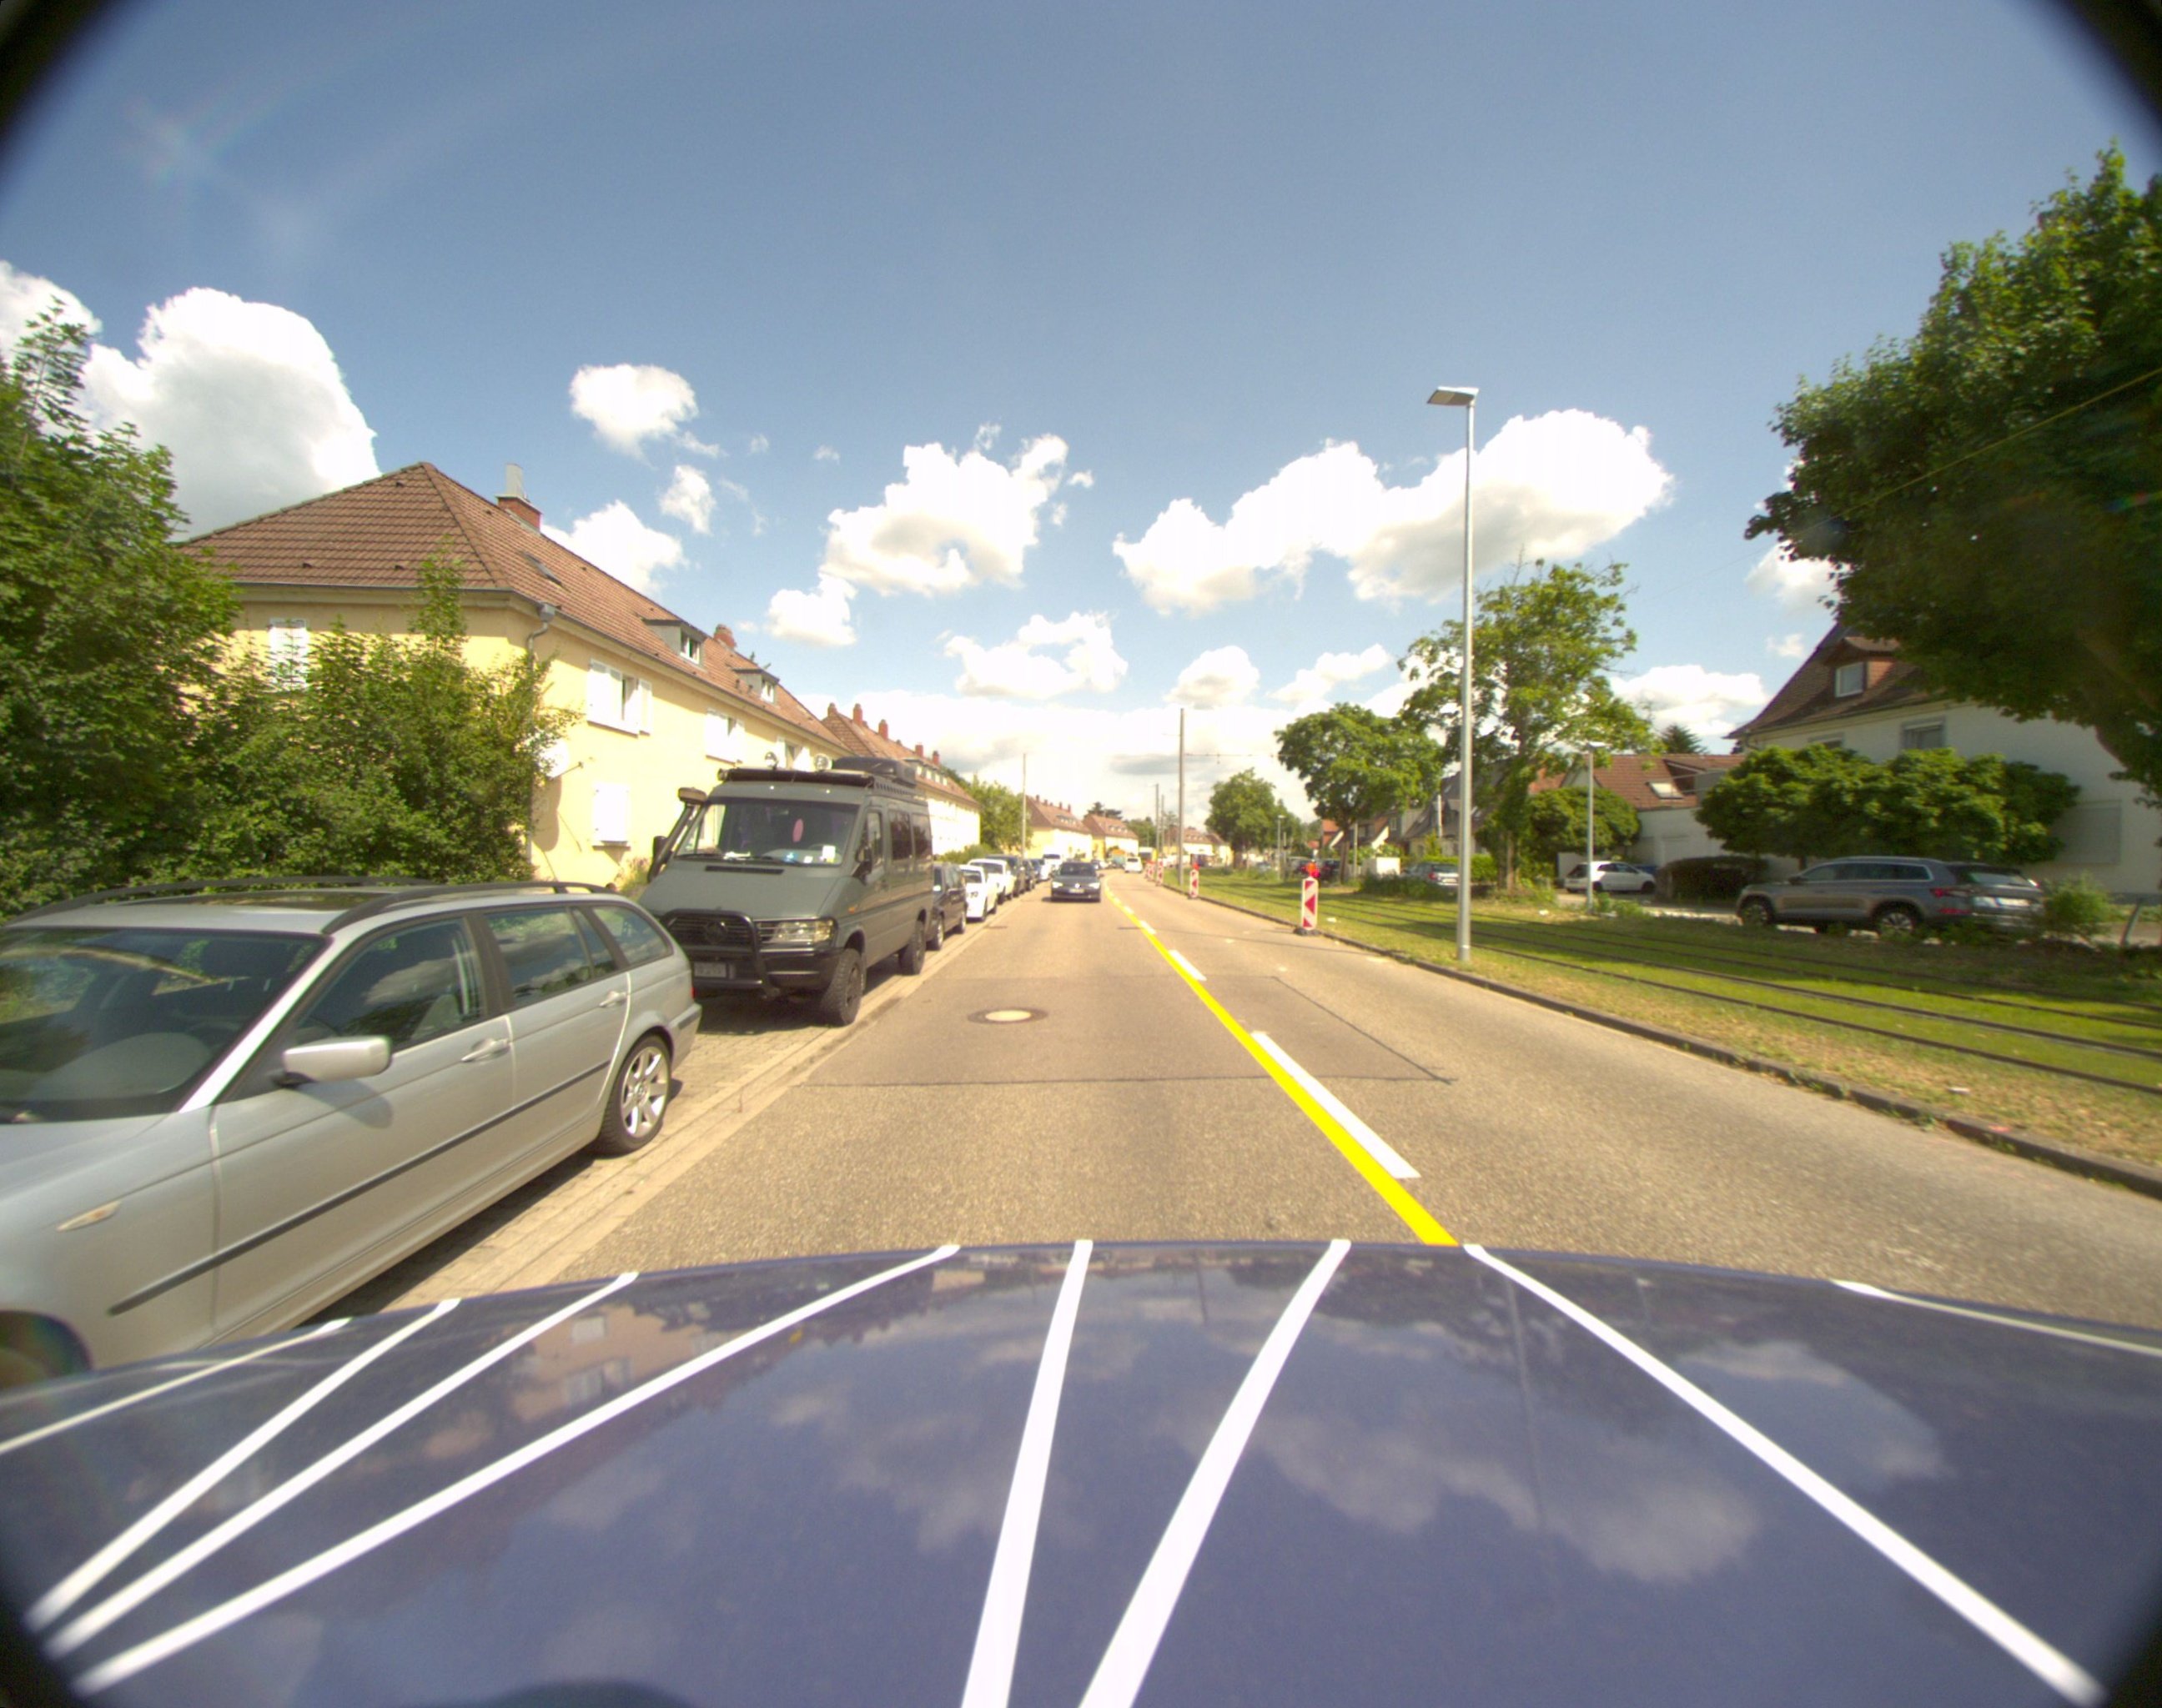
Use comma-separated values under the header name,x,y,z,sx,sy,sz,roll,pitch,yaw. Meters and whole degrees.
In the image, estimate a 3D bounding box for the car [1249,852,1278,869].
name,x,y,z,sx,sy,sz,roll,pitch,yaw
car,17.631,0.627,73.547,1.998,1.531,4.322,1,1,3

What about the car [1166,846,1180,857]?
name,x,y,z,sx,sy,sz,roll,pitch,yaw
car,17.930,-0.498,147.971,1.839,2.043,3.873,1,1,18

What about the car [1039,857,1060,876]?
name,x,y,z,sx,sy,sz,roll,pitch,yaw
car,-2.378,0.936,58.257,1.358,1.299,3.542,1,1,1

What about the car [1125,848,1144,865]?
name,x,y,z,sx,sy,sz,roll,pitch,yaw
car,6.550,0.300,92.346,1.943,1.931,4.564,2,0,8

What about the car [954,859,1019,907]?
name,x,y,z,sx,sy,sz,roll,pitch,yaw
car,-3.132,0.926,25.851,1.654,1.410,4.025,1,1,1

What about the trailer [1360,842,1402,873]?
name,x,y,z,sx,sy,sz,roll,pitch,yaw
trailer,15.584,0.162,39.554,1.302,1.510,2.281,1,1,0

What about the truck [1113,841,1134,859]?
name,x,y,z,sx,sy,sz,roll,pitch,yaw
truck,7.152,-0.658,127.843,2.530,2.931,7.866,1,1,10

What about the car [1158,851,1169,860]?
name,x,y,z,sx,sy,sz,roll,pitch,yaw
car,14.592,0.211,133.850,1.512,1.490,3.577,1,1,12

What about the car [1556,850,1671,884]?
name,x,y,z,sx,sy,sz,roll,pitch,yaw
car,24.926,0.622,35.659,3.997,1.518,2.001,1,-2,0

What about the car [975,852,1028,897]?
name,x,y,z,sx,sy,sz,roll,pitch,yaw
car,-3.101,0.777,30.502,1.683,1.621,4.270,1,1,0

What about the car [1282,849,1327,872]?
name,x,y,z,sx,sy,sz,roll,pitch,yaw
car,16.130,0.449,55.011,1.998,1.531,4.322,1,1,1

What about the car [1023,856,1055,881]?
name,x,y,z,sx,sy,sz,roll,pitch,yaw
car,-2.674,0.883,49.597,1.756,1.480,4.627,1,1,0

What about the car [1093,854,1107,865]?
name,x,y,z,sx,sy,sz,roll,pitch,yaw
car,2.644,0.765,104.575,1.512,1.490,3.576,1,1,9

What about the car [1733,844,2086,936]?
name,x,y,z,sx,sy,sz,roll,pitch,yaw
car,15.754,0.571,14.930,1.998,1.497,4.485,1,1,0

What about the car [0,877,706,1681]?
name,x,y,z,sx,sy,sz,roll,pitch,yaw
car,-3.127,0.940,2.577,1.696,1.507,4.354,1,1,-2

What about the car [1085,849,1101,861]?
name,x,y,z,sx,sy,sz,roll,pitch,yaw
car,1.613,0.103,99.647,1.512,1.490,3.577,1,1,10

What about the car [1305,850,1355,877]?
name,x,y,z,sx,sy,sz,roll,pitch,yaw
car,16.215,0.648,49.662,1.910,1.568,4.101,3,-1,1

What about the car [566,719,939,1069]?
name,x,y,z,sx,sy,sz,roll,pitch,yaw
car,-3.072,0.306,8.471,2.001,2.745,4.878,1,1,0

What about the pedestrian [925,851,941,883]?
name,x,y,z,sx,sy,sz,roll,pitch,yaw
pedestrian,-7.811,0.693,40.088,0.617,1.629,0.900,1,1,1

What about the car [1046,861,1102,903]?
name,x,y,z,sx,sy,sz,roll,pitch,yaw
car,-0.337,0.989,28.397,1.787,1.412,4.288,0,0,-5

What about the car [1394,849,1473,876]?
name,x,y,z,sx,sy,sz,roll,pitch,yaw
car,15.758,0.365,34.194,1.786,1.087,3.835,1,1,0

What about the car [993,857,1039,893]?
name,x,y,z,sx,sy,sz,roll,pitch,yaw
car,-2.968,0.938,35.493,1.689,1.429,4.515,1,1,0

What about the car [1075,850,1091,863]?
name,x,y,z,sx,sy,sz,roll,pitch,yaw
car,0.246,0.273,87.483,1.513,1.490,3.408,1,1,6

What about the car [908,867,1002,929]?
name,x,y,z,sx,sy,sz,roll,pitch,yaw
car,-3.058,1.027,19.208,1.725,1.288,4.128,1,1,-1

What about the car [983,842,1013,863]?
name,x,y,z,sx,sy,sz,roll,pitch,yaw
car,-7.239,-0.109,66.564,1.926,1.736,4.048,1,0,3

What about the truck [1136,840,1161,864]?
name,x,y,z,sx,sy,sz,roll,pitch,yaw
truck,9.956,-0.277,111.278,2.700,3.346,8.056,1,0,11

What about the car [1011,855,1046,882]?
name,x,y,z,sx,sy,sz,roll,pitch,yaw
car,-3.073,0.845,44.731,1.702,1.421,3.898,1,1,1

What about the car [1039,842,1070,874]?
name,x,y,z,sx,sy,sz,roll,pitch,yaw
car,-2.171,0.302,62.968,1.923,2.522,5.346,1,0,4

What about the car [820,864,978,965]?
name,x,y,z,sx,sy,sz,roll,pitch,yaw
car,-3.100,0.957,14.006,1.725,1.394,4.836,1,1,0
